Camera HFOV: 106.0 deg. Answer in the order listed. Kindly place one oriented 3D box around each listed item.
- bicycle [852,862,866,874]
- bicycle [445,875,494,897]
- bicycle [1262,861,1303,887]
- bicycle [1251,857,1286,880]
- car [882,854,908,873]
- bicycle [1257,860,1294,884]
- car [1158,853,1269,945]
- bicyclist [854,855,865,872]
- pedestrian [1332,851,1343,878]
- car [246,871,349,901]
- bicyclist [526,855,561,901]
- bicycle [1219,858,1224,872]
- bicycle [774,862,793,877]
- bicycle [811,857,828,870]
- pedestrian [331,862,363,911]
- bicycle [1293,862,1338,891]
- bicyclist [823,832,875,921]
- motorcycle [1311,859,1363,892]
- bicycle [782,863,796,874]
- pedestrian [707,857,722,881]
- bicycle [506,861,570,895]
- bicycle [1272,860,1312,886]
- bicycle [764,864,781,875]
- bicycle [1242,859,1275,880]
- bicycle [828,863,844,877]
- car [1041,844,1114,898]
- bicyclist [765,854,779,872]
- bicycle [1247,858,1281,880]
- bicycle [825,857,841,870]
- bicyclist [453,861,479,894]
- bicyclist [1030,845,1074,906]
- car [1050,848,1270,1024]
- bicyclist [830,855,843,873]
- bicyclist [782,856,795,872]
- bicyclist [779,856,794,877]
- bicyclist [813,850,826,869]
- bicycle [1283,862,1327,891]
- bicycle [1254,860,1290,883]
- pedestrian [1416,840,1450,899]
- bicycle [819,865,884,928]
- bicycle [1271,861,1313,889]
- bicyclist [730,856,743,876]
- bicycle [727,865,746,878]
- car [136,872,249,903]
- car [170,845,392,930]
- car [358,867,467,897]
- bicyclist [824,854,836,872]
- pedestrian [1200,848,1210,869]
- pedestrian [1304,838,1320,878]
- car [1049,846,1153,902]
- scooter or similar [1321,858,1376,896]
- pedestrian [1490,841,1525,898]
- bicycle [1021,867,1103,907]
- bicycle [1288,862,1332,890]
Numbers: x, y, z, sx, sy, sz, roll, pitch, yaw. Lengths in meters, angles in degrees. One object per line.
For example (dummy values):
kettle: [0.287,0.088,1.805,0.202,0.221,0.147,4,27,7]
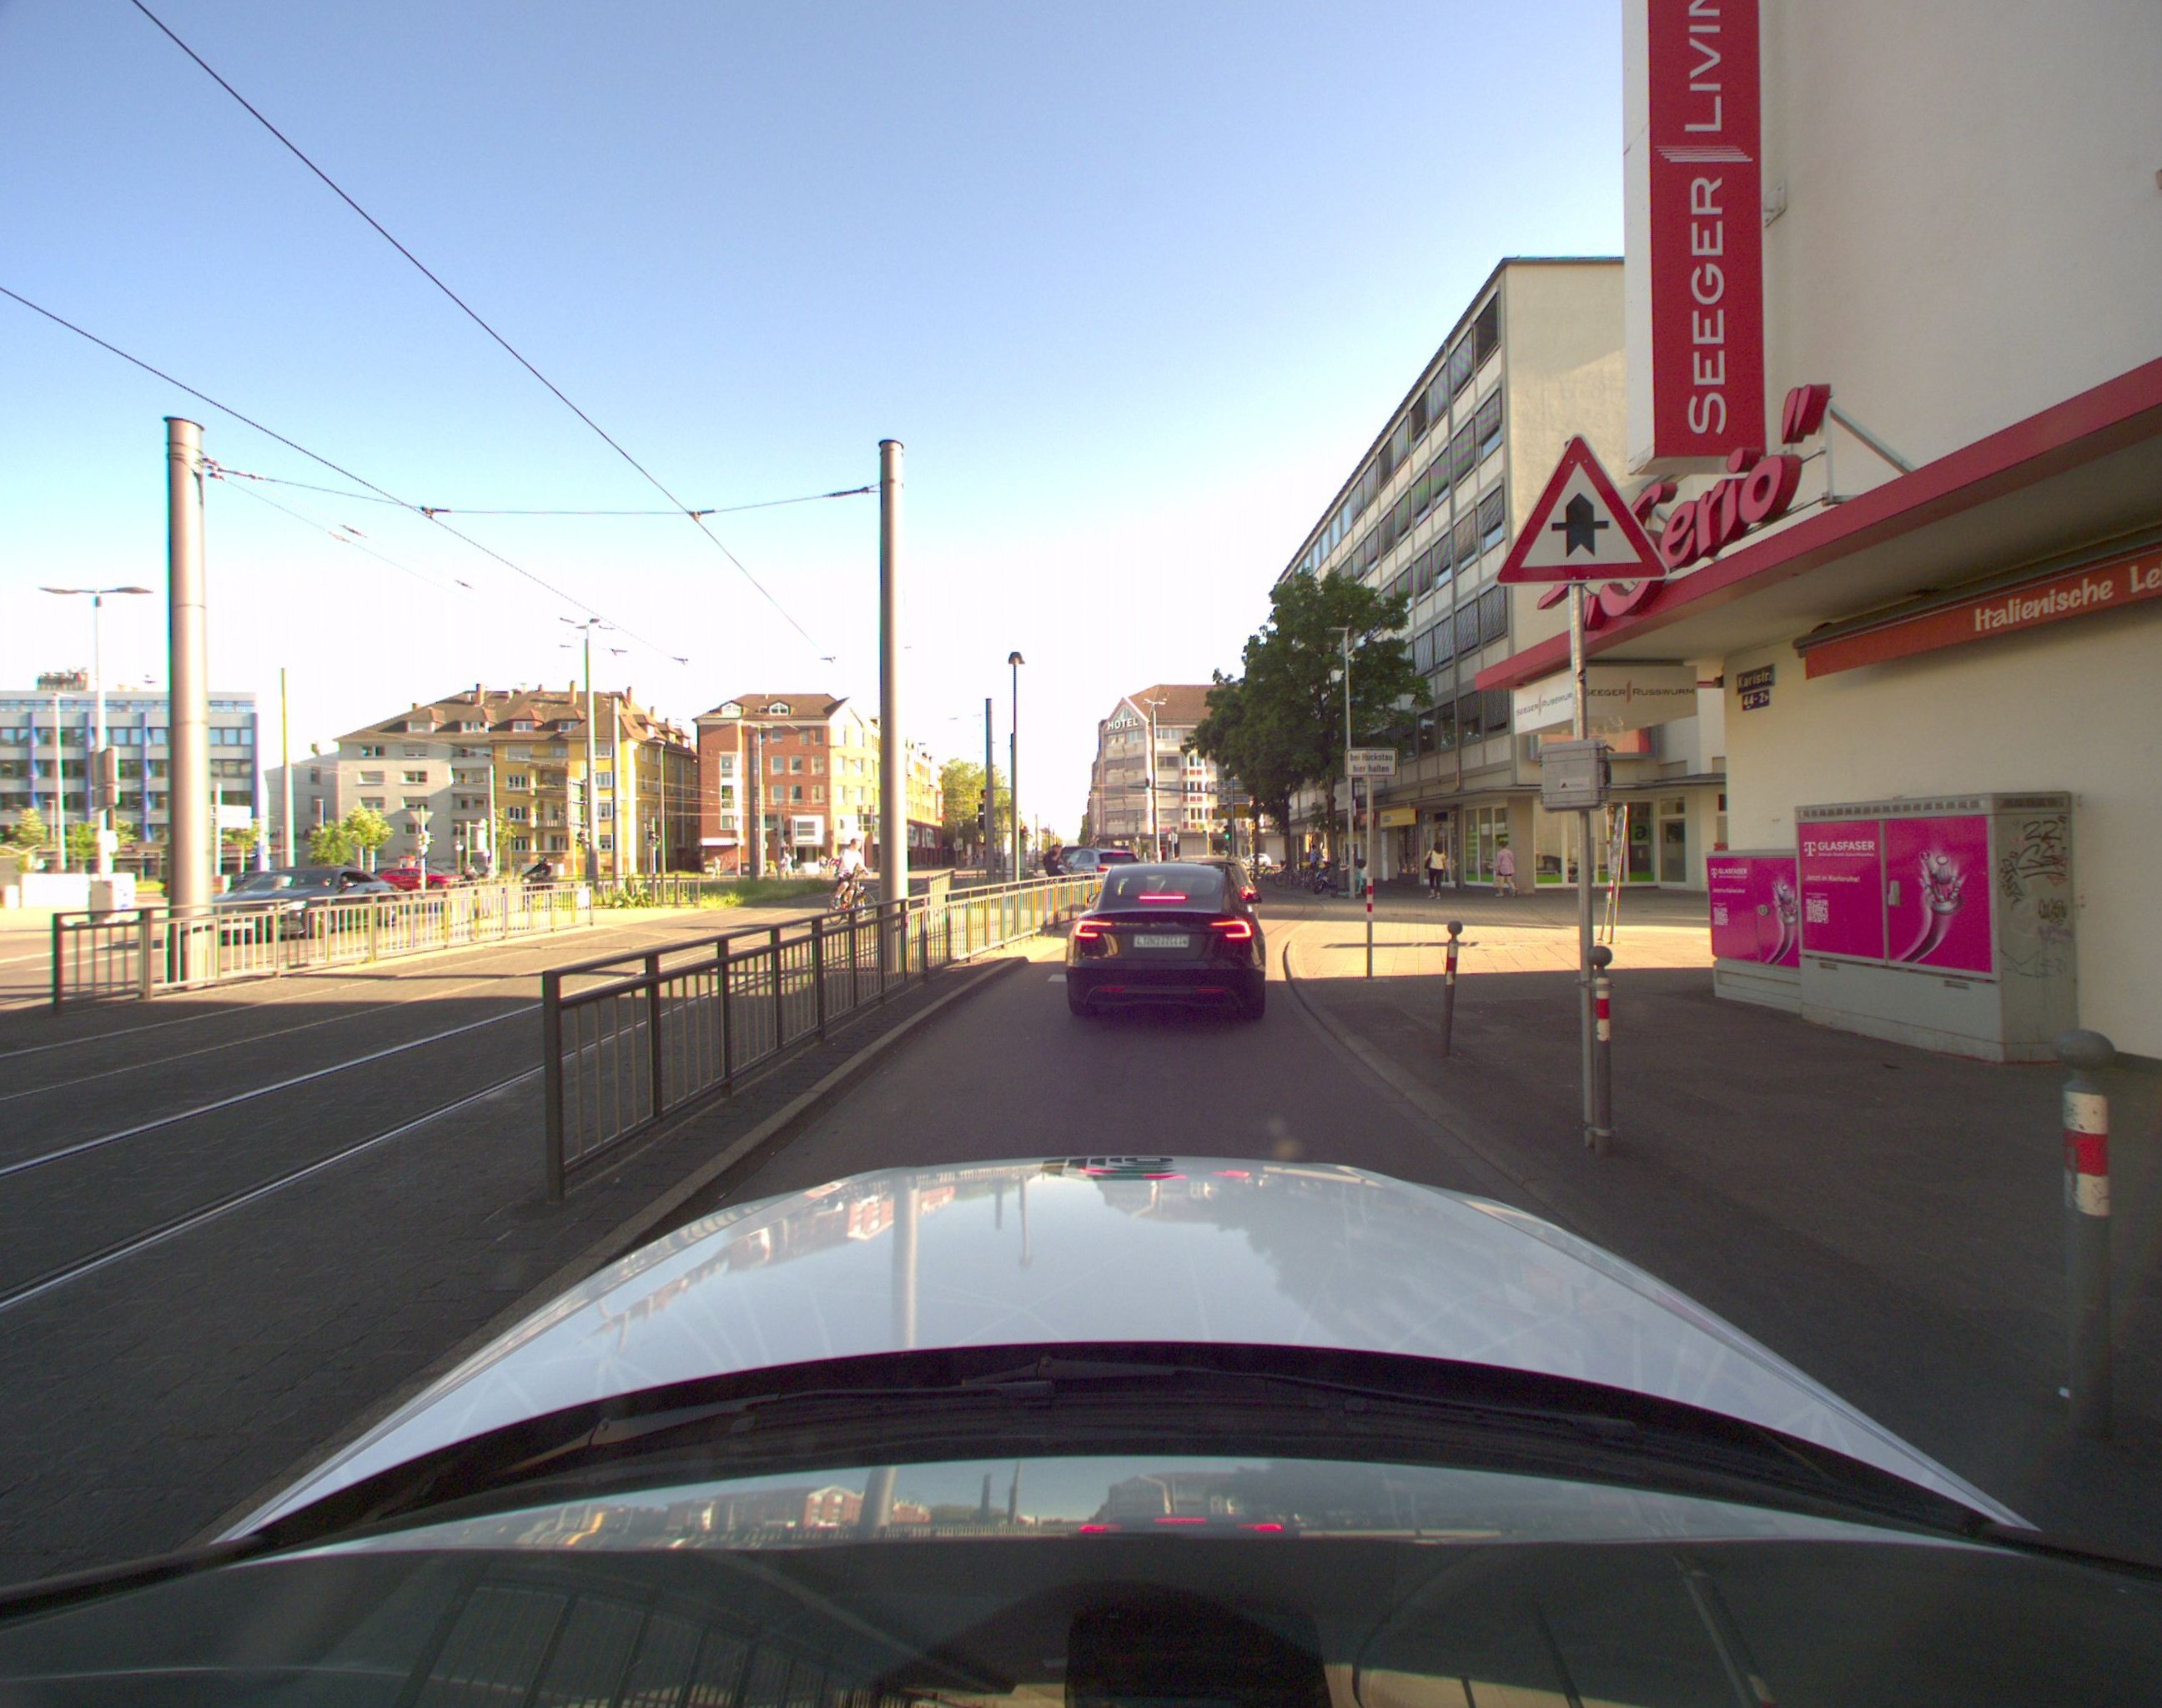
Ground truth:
bicycle: [-20.093,1.276,73.833,0.527,1.088,2.227,0,-1,4]
bicycle: [-34.631,1.788,46.133,2.188,1.214,0.544,0,-1,-11]
bicycle: [8.441,0.831,34.164,1.649,1.099,0.349,0,-1,-9]
bicycle: [9.281,0.707,40.251,1.643,1.099,0.350,0,-1,3]
car: [-18.065,0.904,79.258,1.692,1.731,3.706,0,-1,0]
bicycle: [9.141,0.836,38.211,1.643,1.099,0.350,0,-1,3]
car: [2.410,0.710,15.012,1.741,1.454,4.009,-1,0,8]
bicyclist: [-20.091,0.849,73.906,0.780,1.563,0.747,0,-1,3]
pedestrian: [12.805,0.541,40.609,0.388,1.343,0.513,0,-1,4]
car: [-45.493,1.835,47.375,3.984,1.672,1.772,0,-1,-8]
bicyclist: [-18.173,0.815,27.566,0.781,1.527,0.590,0,-1,6]
bicycle: [11.108,0.869,64.443,0.330,1.034,1.258,0,-1,5]
bicycle: [-22.538,1.176,61.722,0.535,1.088,2.227,0,-1,4]
bicycle: [-22.303,0.802,69.452,0.527,1.088,2.286,-1,0,4]
pedestrian: [-25.728,1.122,28.568,0.778,1.681,0.586,0,-1,-37]
bicycle: [8.896,0.850,30.937,1.649,1.099,0.349,0,-1,-9]
bicyclist: [-4.749,0.457,16.643,0.763,1.759,0.744,0,-1,-43]
motorcycle: [9.145,0.768,29.167,1.701,1.173,0.541,0,-1,0]
bicycle: [-26.871,1.356,75.018,0.402,0.981,1.699,-1,-1,10]
pedestrian: [-28.632,1.182,63.566,0.780,1.820,0.747,0,-1,3]
bicycle: [-18.192,0.797,27.339,0.456,1.093,2.205,0,-1,6]
bicycle: [9.119,0.831,35.256,1.643,1.099,0.350,0,-1,3]
bicycle: [-25.975,1.294,68.639,0.522,0.972,2.247,0,-1,2]
bicycle: [9.245,0.790,42.392,1.643,1.099,0.350,0,-1,3]
bicycle: [-20.522,1.319,68.365,0.527,1.088,2.227,-1,0,4]
car: [-0.214,0.664,32.763,1.997,2.014,3.980,-1,0,-15]
bicyclist: [-25.979,0.752,68.504,0.895,1.503,0.696,0,-1,1]
bicycle: [9.264,0.760,41.297,1.643,1.099,0.350,-1,0,3]
bicycle: [-22.112,0.851,72.601,0.526,1.088,2.287,0,-1,5]
bicyclist: [-34.768,1.332,46.077,0.901,1.808,0.788,0,-1,-11]
bicyclist: [-0.802,0.572,22.409,0.763,1.628,0.967,0,-1,-37]
car: [0.891,0.700,8.815,1.820,1.455,4.007,0,-1,7]
bicyclist: [-20.488,0.836,68.319,0.780,1.563,0.747,-1,0,3]
bicyclist: [-26.908,0.921,74.909,0.699,1.471,0.975,-1,0,9]
bicyclist: [-22.471,0.945,62.142,0.780,1.563,0.747,0,-1,3]
bicyclist: [-22.303,0.483,69.499,0.780,1.563,0.747,-1,0,3]
bicycle: [8.732,0.859,31.787,1.649,1.099,0.349,0,-1,-9]
bicycle: [9.206,0.841,39.237,1.643,1.099,0.350,0,-1,3]
pedestrian: [10.746,0.455,24.840,0.906,1.752,1.044,-1,0,25]
bicycle: [-4.689,0.836,16.561,0.488,1.222,1.832,0,-1,-43]
bicycle: [8.617,0.847,33.318,1.649,1.099,0.349,0,-1,-9]
bicyclist: [-26.053,0.915,61.621,0.631,1.503,0.696,0,-1,1]
bicycle: [-26.045,1.326,61.627,0.445,0.972,2.247,0,-1,2]
car: [-50.698,1.875,46.543,3.952,1.685,1.903,0,-1,-11]
car: [-16.177,0.614,16.776,1.716,1.527,4.009,0,-1,-20]
car: [-39.601,1.652,48.344,4.585,1.700,1.993,0,-1,-10]
bicyclist: [-22.231,0.769,72.053,0.780,1.563,0.747,-1,0,3]
pedestrian: [9.929,0.396,65.275,0.697,1.662,0.777,0,-1,1]
pedestrian: [11.771,0.218,41.446,0.659,2.014,0.580,0,-1,4]
car: [0.566,0.622,26.672,1.891,1.662,4.126,0,-1,-23]
scooter or similar: [8.899,0.764,27.097,1.625,1.215,0.649,-1,-1,32]
pedestrian: [12.704,0.461,24.263,0.881,1.667,0.813,-1,-1,25]
bicycle: [-0.516,0.895,22.639,2.346,1.053,0.624,0,-1,-36]
bicycle: [8.818,0.830,31.361,1.649,1.061,0.349,0,-1,-9]
